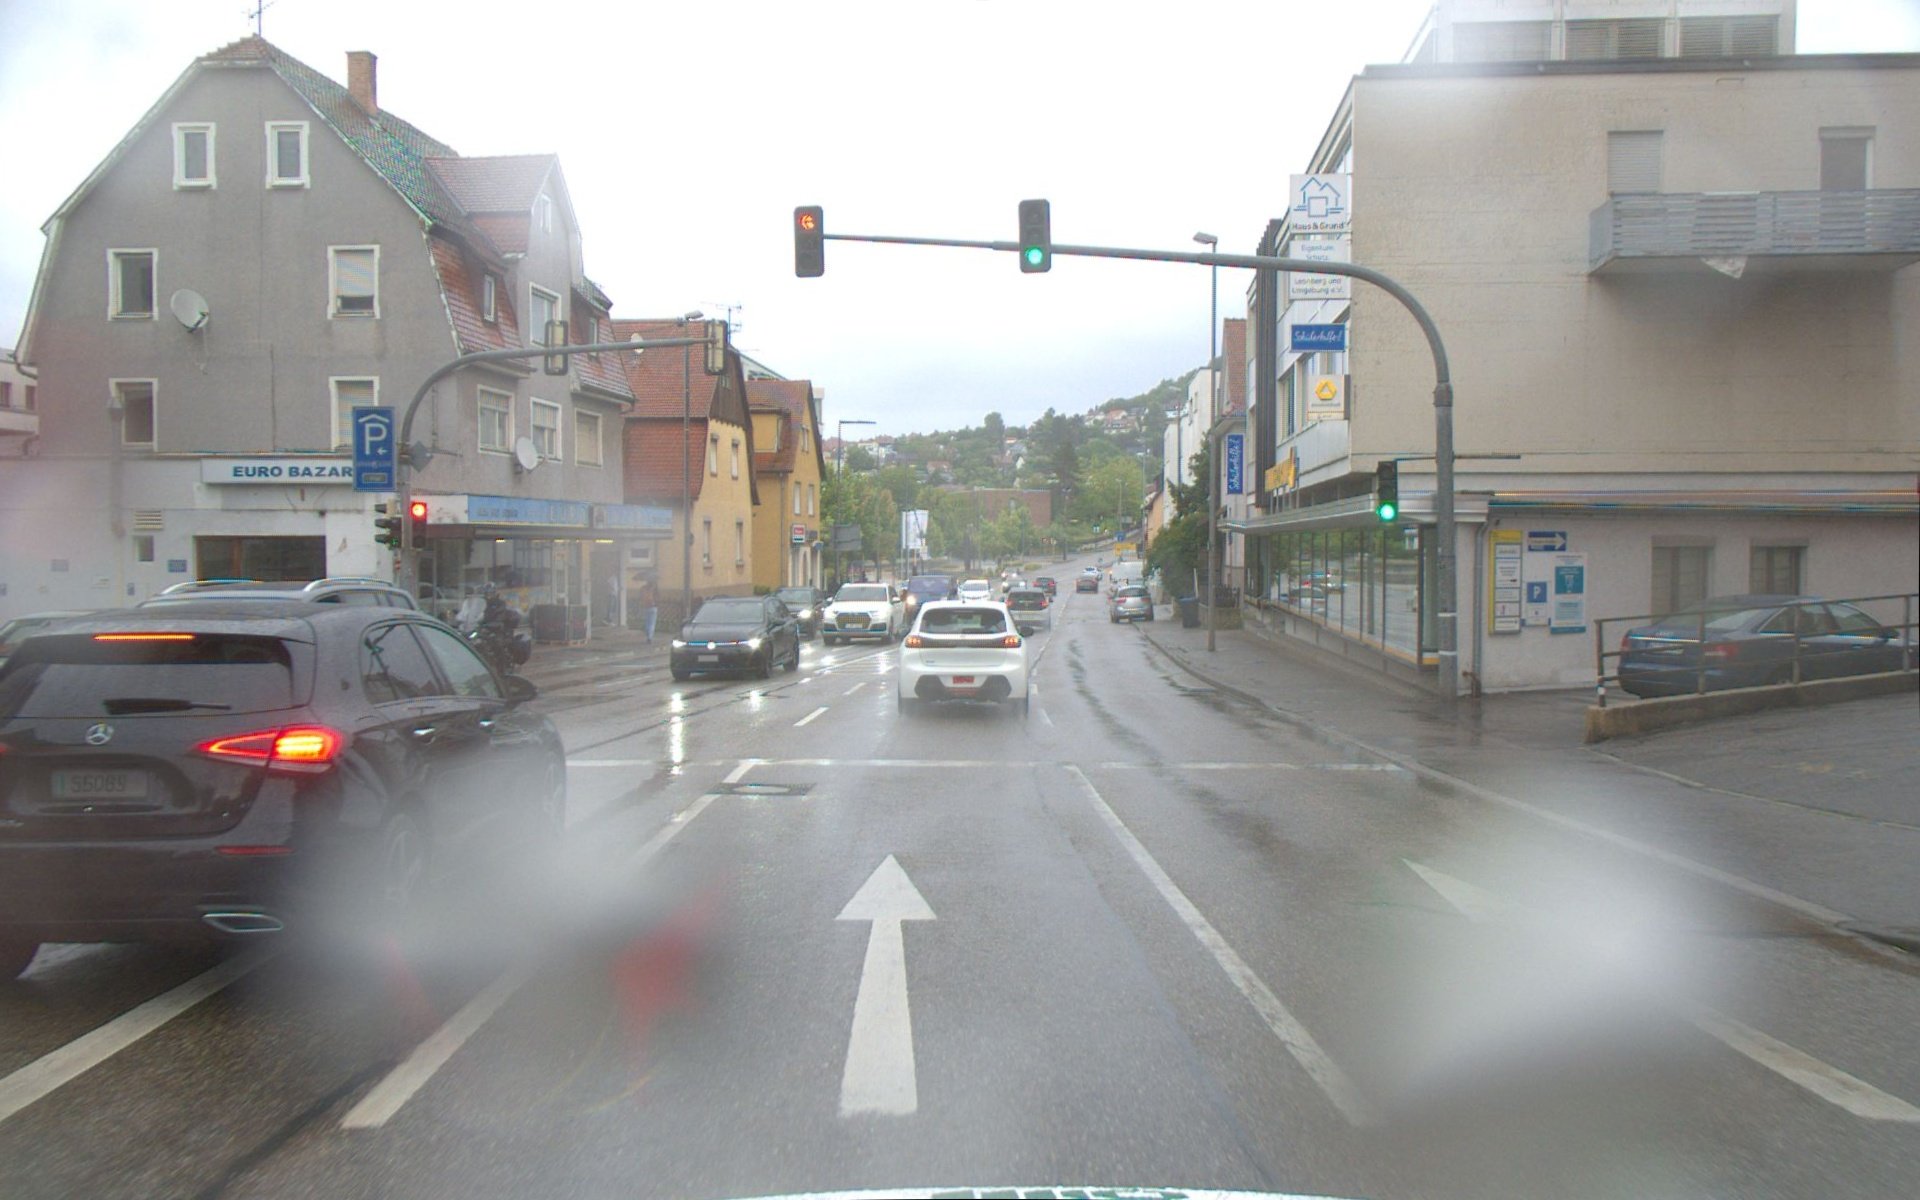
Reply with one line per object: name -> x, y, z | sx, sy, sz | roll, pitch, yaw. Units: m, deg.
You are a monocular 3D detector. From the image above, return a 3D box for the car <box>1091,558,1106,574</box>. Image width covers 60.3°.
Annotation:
car -> 18.877, -4.659, 225.424 | 1.951, 2.049, 4.002 | -1, 0, 4

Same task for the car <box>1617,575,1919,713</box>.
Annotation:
car -> 10.113, 0.456, 19.942 | 4.337, 1.436, 1.720 | -2, 1, -29

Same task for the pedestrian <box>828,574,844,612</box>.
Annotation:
pedestrian -> -6.013, -0.334, 80.113 | 0.785, 1.819, 0.881 | -1, 0, -5

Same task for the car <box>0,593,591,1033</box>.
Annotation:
car -> -2.969, 0.730, 7.709 | 1.681, 1.475, 4.196 | -1, 0, -2

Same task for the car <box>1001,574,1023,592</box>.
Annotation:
car -> 4.407, -1.393, 139.938 | 1.731, 1.438, 4.528 | -1, 0, 4

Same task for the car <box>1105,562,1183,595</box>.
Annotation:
car -> 14.070, -1.641, 126.047 | 6.575, 2.423, 2.261 | 0, 0, -45

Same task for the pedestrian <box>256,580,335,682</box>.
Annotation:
pedestrian -> -12.112, 0.553, 30.178 | 0.906, 1.820, 1.234 | -1, 0, 2

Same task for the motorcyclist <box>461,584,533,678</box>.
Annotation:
motorcyclist -> -7.471, 0.488, 26.746 | 0.768, 1.482, 1.140 | -1, 0, 4

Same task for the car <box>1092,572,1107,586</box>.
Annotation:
car -> 15.791, -2.411, 186.829 | 1.613, 1.511, 3.368 | -1, 0, 4

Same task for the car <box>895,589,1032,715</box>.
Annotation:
car -> 0.125, 0.655, 22.285 | 1.655, 1.546, 3.934 | 0, 0, 3

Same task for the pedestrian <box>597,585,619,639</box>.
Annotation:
pedestrian -> -10.268, 0.352, 48.238 | 0.531, 1.584, 0.446 | 0, 0, 4

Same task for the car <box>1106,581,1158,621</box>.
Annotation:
car -> 7.540, 0.088, 72.857 | 1.969, 1.650, 4.361 | 1, -1, 2

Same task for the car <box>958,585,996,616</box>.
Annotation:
car -> 0.968, 0.023, 91.210 | 1.839, 1.637, 4.721 | 0, 0, 4

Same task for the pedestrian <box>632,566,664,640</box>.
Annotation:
pedestrian -> -8.395, 0.072, 44.523 | 0.648, 1.955, 0.946 | 2, 0, -4

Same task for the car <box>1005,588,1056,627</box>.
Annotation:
car -> 2.516, 0.245, 59.592 | 1.705, 1.318, 3.334 | -1, 1, 1

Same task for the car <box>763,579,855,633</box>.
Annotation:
car -> -4.868, 0.194, 53.954 | 1.958, 1.646, 4.952 | -1, 0, 7

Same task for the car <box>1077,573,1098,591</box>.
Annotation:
car -> 10.869, -1.532, 141.526 | 1.697, 1.412, 3.353 | 1, 0, 3

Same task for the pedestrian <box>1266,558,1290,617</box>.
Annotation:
pedestrian -> 9.801, -0.389, 51.003 | 0.714, 1.811, 0.954 | 0, 2, 12

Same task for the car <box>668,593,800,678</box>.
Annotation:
car -> -4.155, 0.624, 31.045 | 1.721, 1.459, 4.381 | -1, 0, 2

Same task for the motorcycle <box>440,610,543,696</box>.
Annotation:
motorcycle -> -7.507, 0.831, 26.620 | 0.888, 1.306, 2.186 | -1, 0, 4

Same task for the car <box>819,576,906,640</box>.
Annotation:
car -> -2.768, 0.239, 48.010 | 2.055, 1.742, 4.850 | -1, 0, 2

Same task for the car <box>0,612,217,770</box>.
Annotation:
car -> -9.027, 0.820, 16.315 | 1.606, 1.361, 3.602 | -1, 0, 3

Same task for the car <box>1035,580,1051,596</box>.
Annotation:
car -> 6.335, -0.911, 126.974 | 1.187, 1.176, 2.271 | 0, 0, 2

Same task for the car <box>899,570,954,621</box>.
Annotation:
car -> -1.315, -0.168, 67.439 | 1.925, 1.972, 5.181 | -1, 0, 2

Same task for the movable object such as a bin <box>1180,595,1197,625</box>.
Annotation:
movable object such as a bin -> 8.491, 0.365, 61.543 | 0.563, 1.066, 0.831 | -1, 2, 4

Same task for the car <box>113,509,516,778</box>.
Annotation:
car -> -5.525, 0.343, 14.797 | 1.599, 2.049, 4.287 | -1, 0, 5
